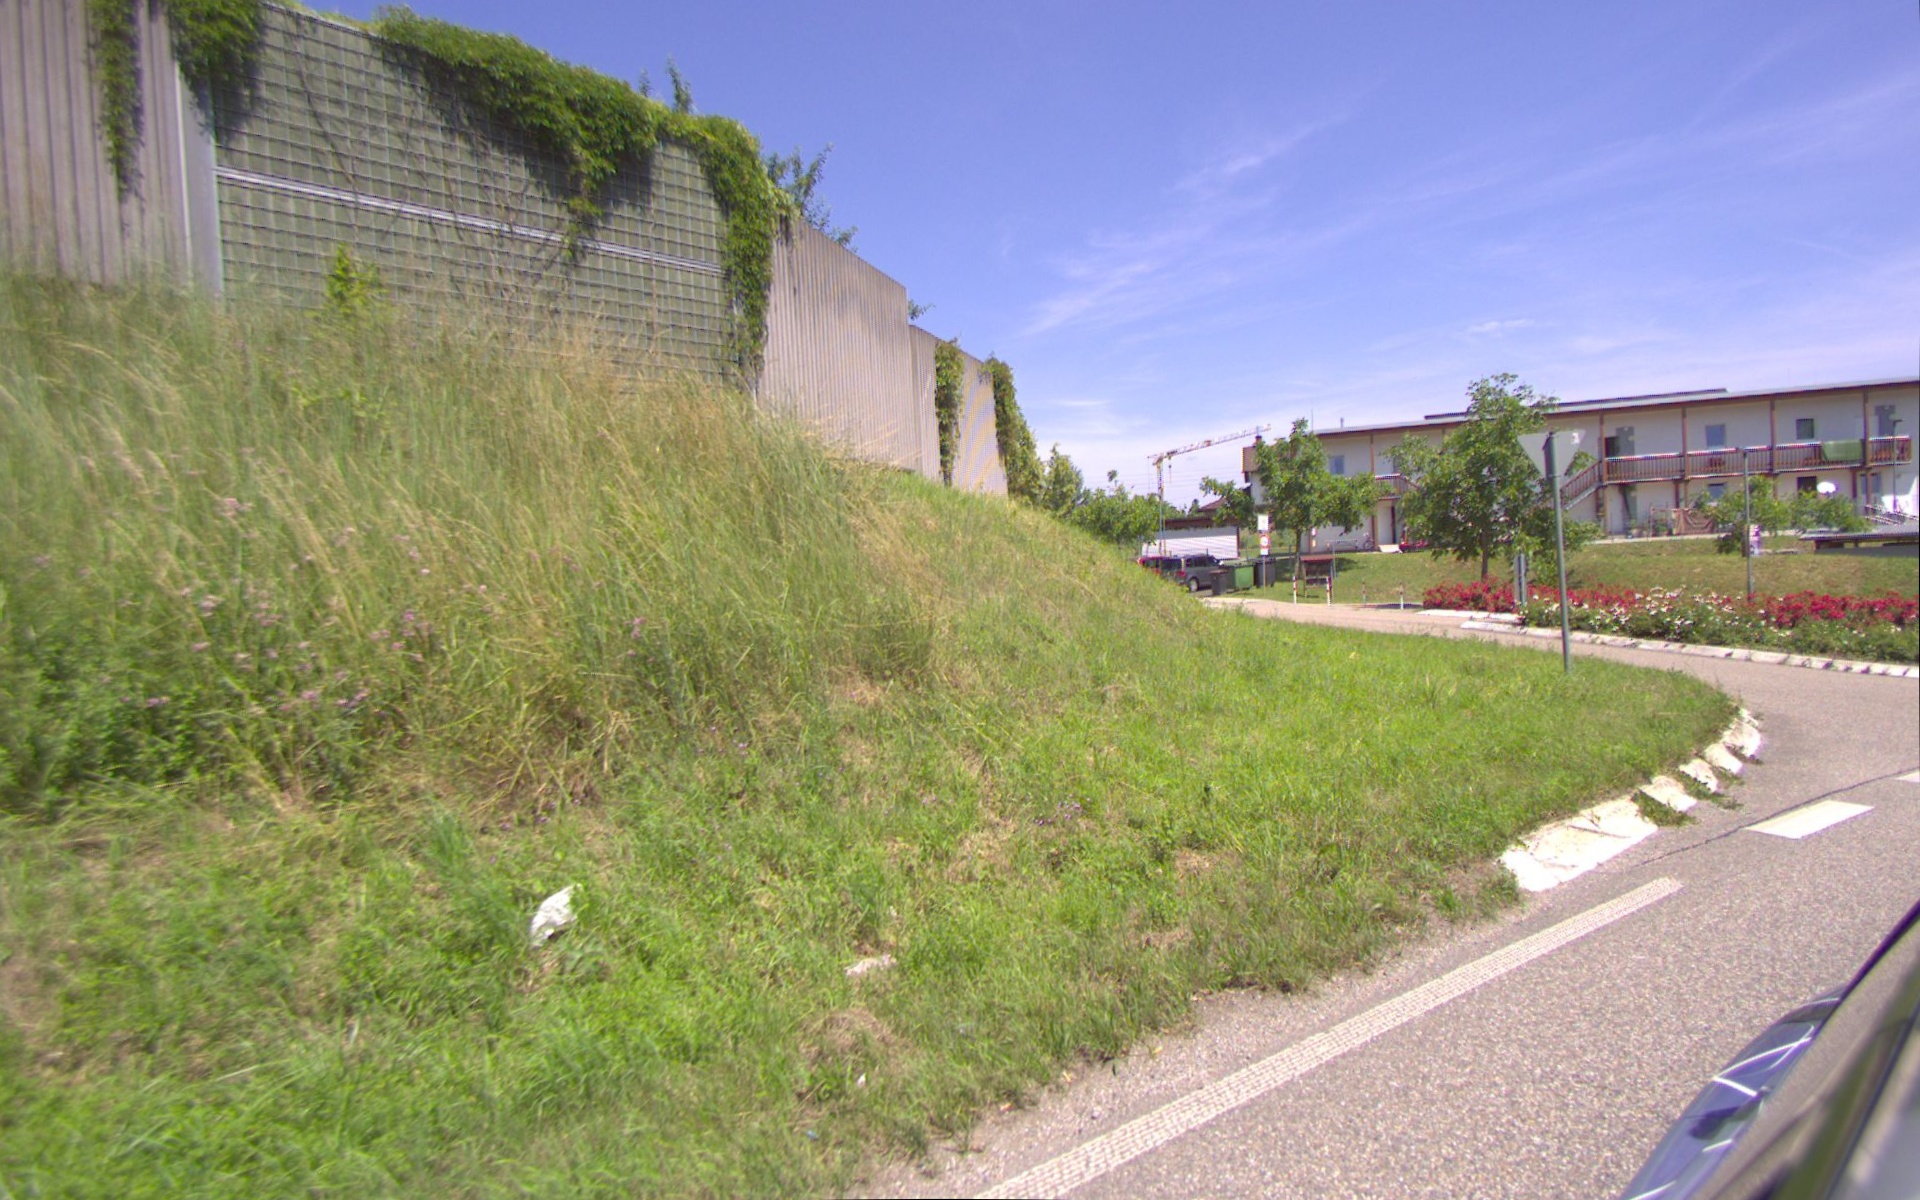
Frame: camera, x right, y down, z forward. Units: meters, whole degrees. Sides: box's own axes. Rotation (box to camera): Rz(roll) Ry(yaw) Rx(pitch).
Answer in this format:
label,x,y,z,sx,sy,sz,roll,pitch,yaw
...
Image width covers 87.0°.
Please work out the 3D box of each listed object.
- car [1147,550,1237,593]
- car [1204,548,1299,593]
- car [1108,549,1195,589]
label,x,y,z,sx,sy,sz,roll,pitch,yaw
car,10.666,-1.339,46.518,3.925,1.772,1.872,-4,3,-35
car,12.720,-1.321,44.092,3.925,1.772,1.872,-4,3,-35
car,9.219,-1.508,48.622,3.925,1.772,1.872,-4,3,-35
